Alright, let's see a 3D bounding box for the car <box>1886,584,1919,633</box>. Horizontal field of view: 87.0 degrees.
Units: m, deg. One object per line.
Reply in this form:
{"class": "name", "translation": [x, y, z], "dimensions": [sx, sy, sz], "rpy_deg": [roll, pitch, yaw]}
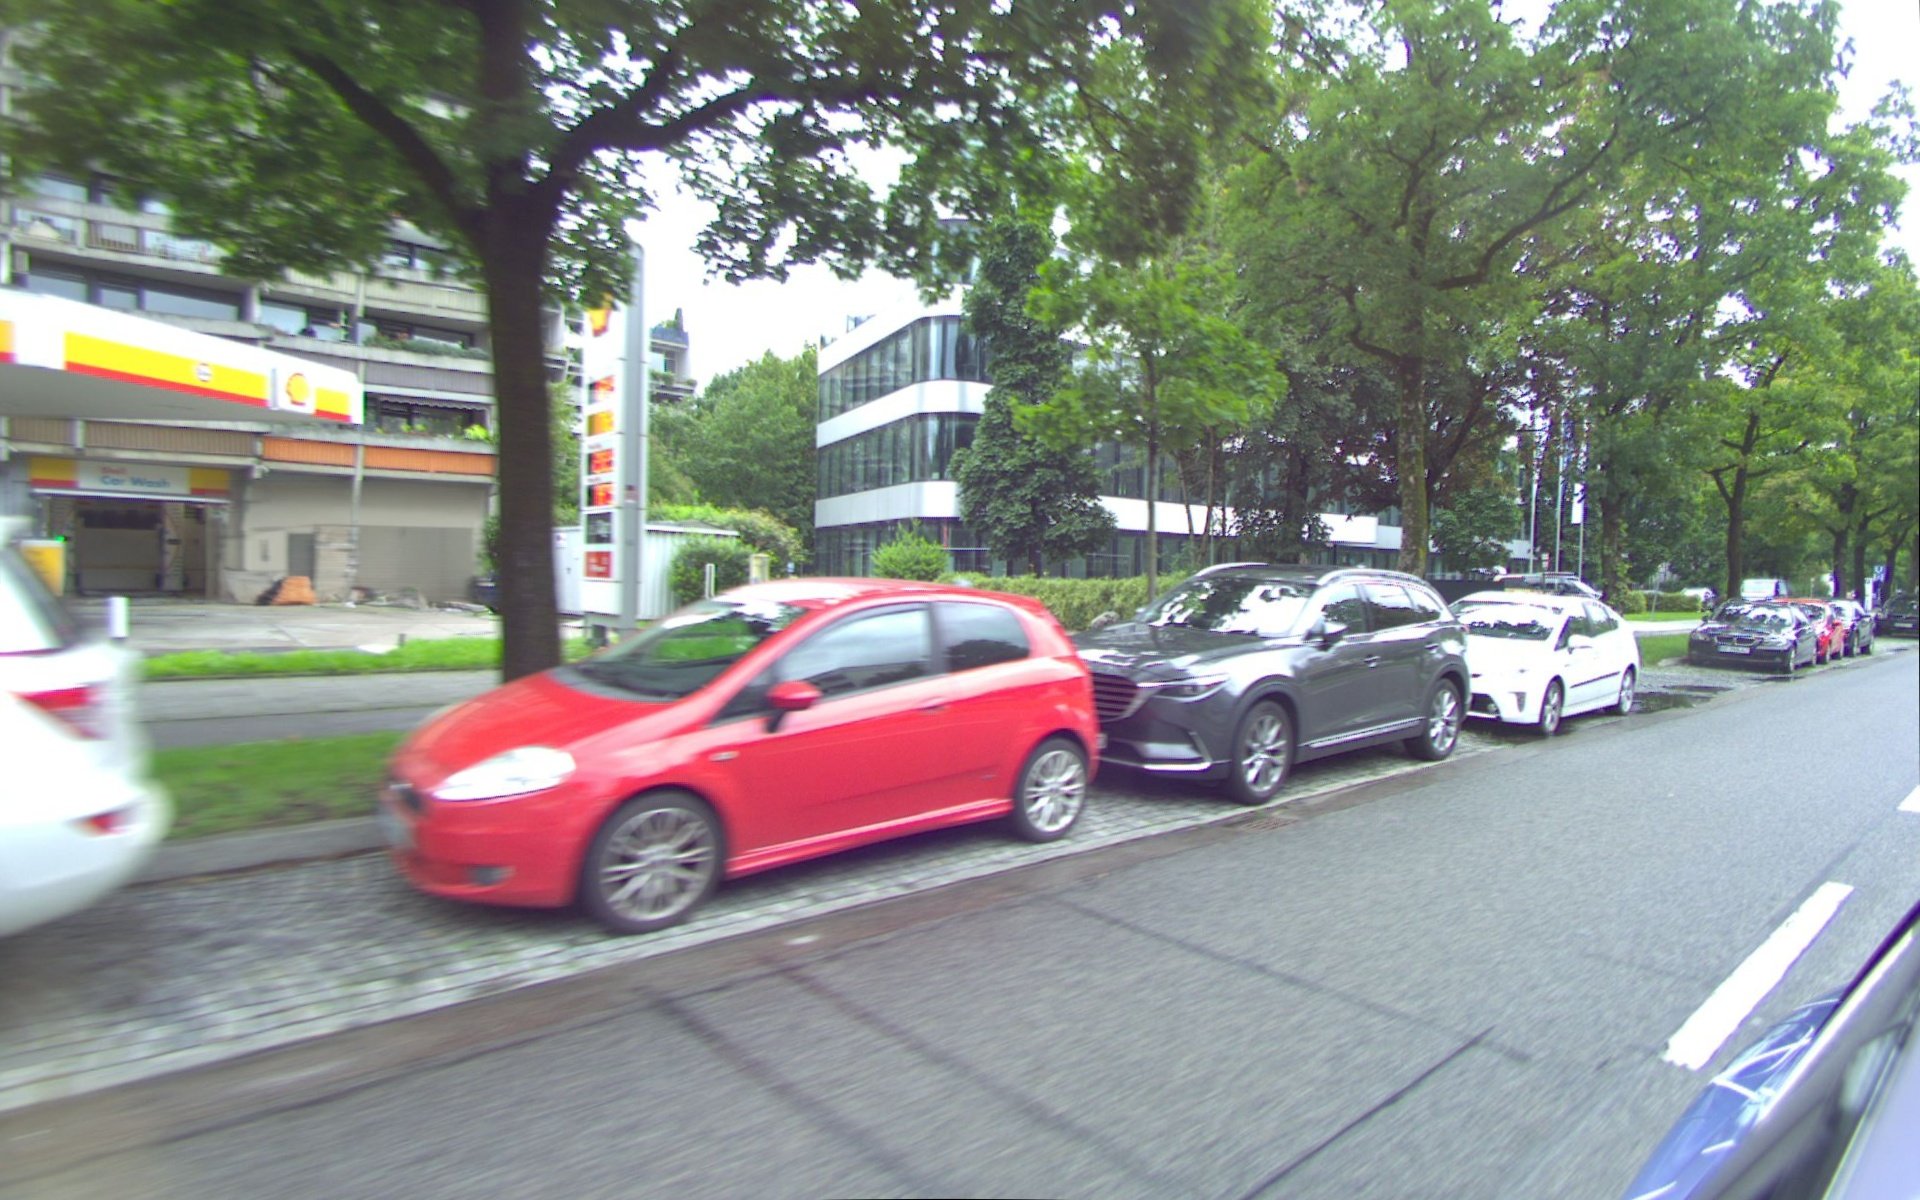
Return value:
{"class": "car", "translation": [38.020, 0.335, 39.744], "dimensions": [4.777, 1.822, 1.896], "rpy_deg": [0, 2, -41]}

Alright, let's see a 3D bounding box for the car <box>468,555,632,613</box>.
{"class": "car", "translation": [-11.656, -0.466, 28.949], "dimensions": [1.885, 1.539, 3.937], "rpy_deg": [3, 2, 43]}

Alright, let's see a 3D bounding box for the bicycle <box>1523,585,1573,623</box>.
{"class": "bicycle", "translation": [19.581, 0.135, 33.687], "dimensions": [2.207, 1.197, 0.750], "rpy_deg": [0, 2, -41]}

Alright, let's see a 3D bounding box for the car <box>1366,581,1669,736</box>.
{"class": "car", "translation": [6.965, 0.582, 12.421], "dimensions": [4.552, 1.471, 1.764], "rpy_deg": [0, 4, -41]}

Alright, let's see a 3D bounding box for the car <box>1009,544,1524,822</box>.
{"class": "car", "translation": [2.906, 0.493, 8.757], "dimensions": [5.139, 1.719, 1.764], "rpy_deg": [0, 4, -41]}

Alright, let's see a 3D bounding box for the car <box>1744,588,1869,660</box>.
{"class": "car", "translation": [20.655, 0.522, 24.641], "dimensions": [3.951, 1.519, 1.679], "rpy_deg": [0, 4, -41]}

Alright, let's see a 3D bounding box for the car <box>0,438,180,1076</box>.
{"class": "car", "translation": [-4.703, 0.405, 2.379], "dimensions": [4.449, 1.853, 1.764], "rpy_deg": [0, 4, -41]}

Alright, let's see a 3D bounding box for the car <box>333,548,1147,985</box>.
{"class": "car", "translation": [-0.965, 0.570, 5.640], "dimensions": [4.071, 1.525, 1.764], "rpy_deg": [0, 4, -41]}

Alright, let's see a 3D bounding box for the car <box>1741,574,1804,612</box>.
{"class": "car", "translation": [52.605, -0.455, 65.468], "dimensions": [6.162, 2.335, 2.268], "rpy_deg": [0, 2, -43]}

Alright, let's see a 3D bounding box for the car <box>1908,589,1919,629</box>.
{"class": "car", "translation": [42.642, 0.416, 43.702], "dimensions": [4.713, 1.696, 1.818], "rpy_deg": [0, 2, -39]}

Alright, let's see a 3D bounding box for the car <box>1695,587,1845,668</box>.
{"class": "car", "translation": [17.439, 0.532, 21.712], "dimensions": [4.502, 1.471, 1.679], "rpy_deg": [0, 4, -41]}

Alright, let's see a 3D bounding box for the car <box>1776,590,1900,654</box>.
{"class": "car", "translation": [23.938, 0.553, 27.546], "dimensions": [4.207, 1.529, 1.784], "rpy_deg": [0, 3, -39]}

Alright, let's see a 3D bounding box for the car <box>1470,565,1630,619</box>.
{"class": "car", "translation": [25.004, -0.399, 43.059], "dimensions": [2.109, 2.109, 5.480], "rpy_deg": [0, 2, -41]}
